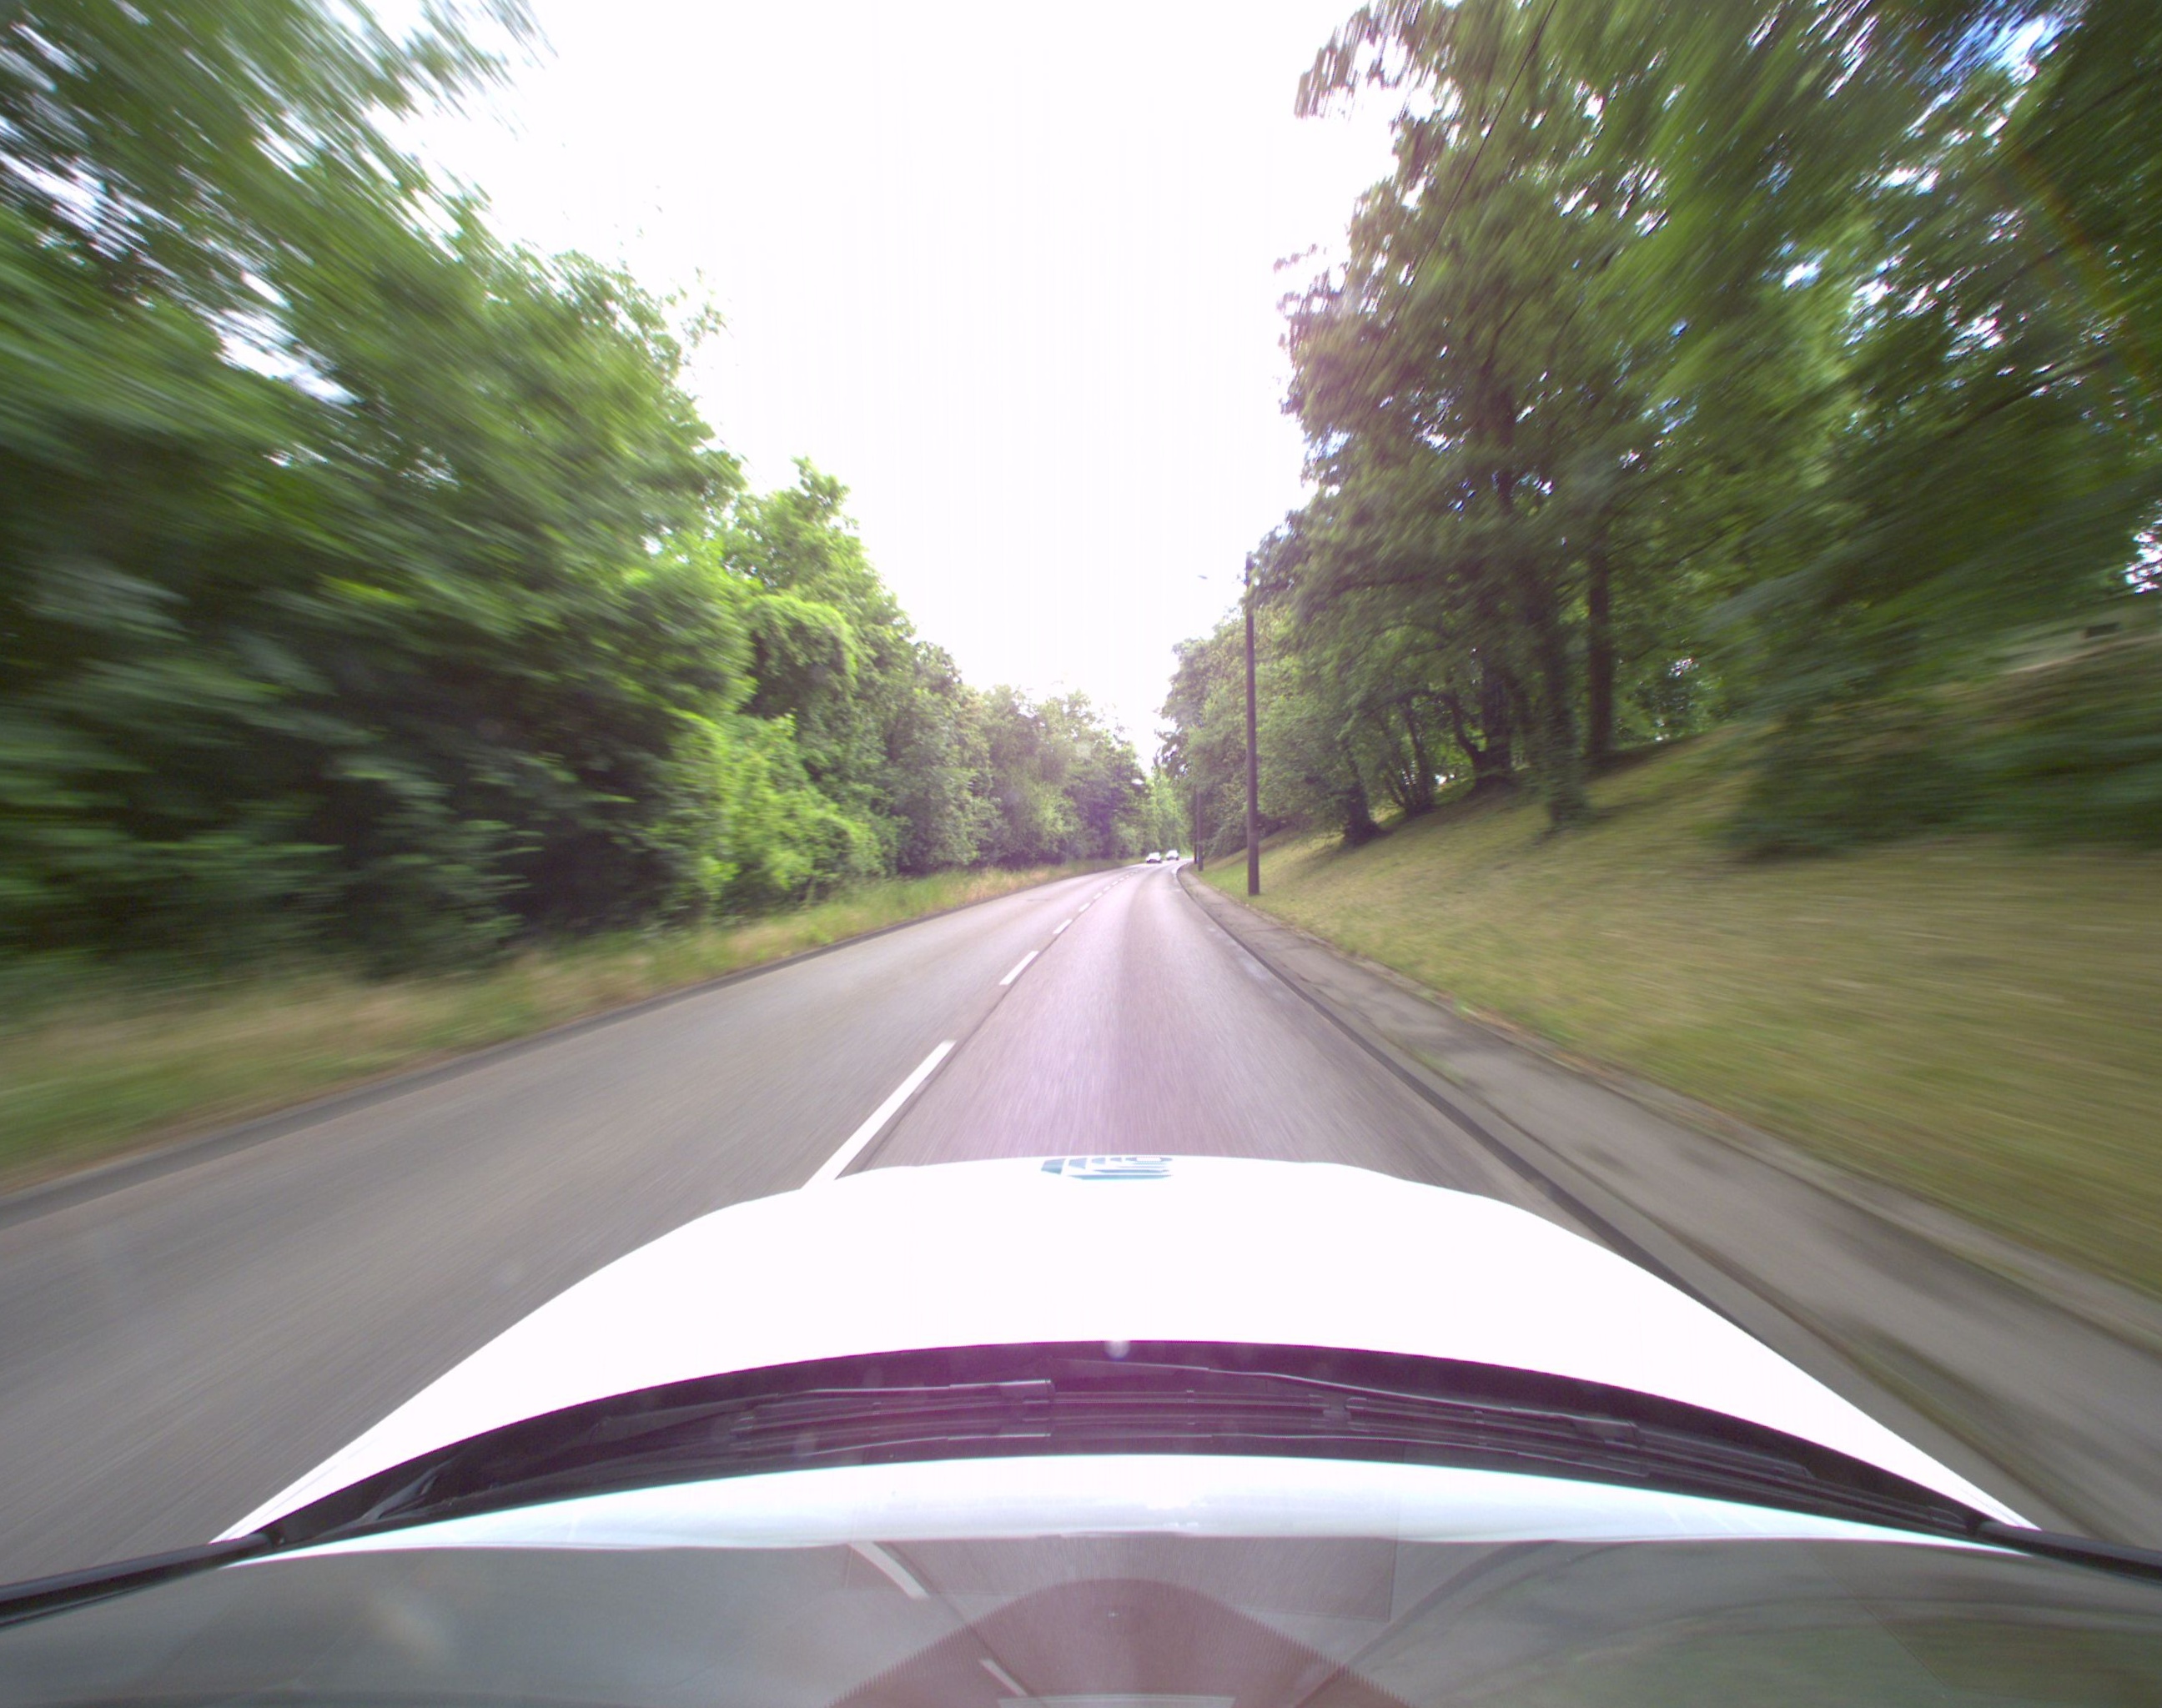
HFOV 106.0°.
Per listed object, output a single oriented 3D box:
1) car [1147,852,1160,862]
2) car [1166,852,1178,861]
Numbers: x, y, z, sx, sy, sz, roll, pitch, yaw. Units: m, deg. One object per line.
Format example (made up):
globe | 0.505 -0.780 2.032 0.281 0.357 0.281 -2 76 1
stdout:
car | 9.997 0.412 112.436 1.801 1.420 4.006 -1 0 5
car | 15.946 0.374 142.678 1.933 1.581 4.447 -1 0 5
